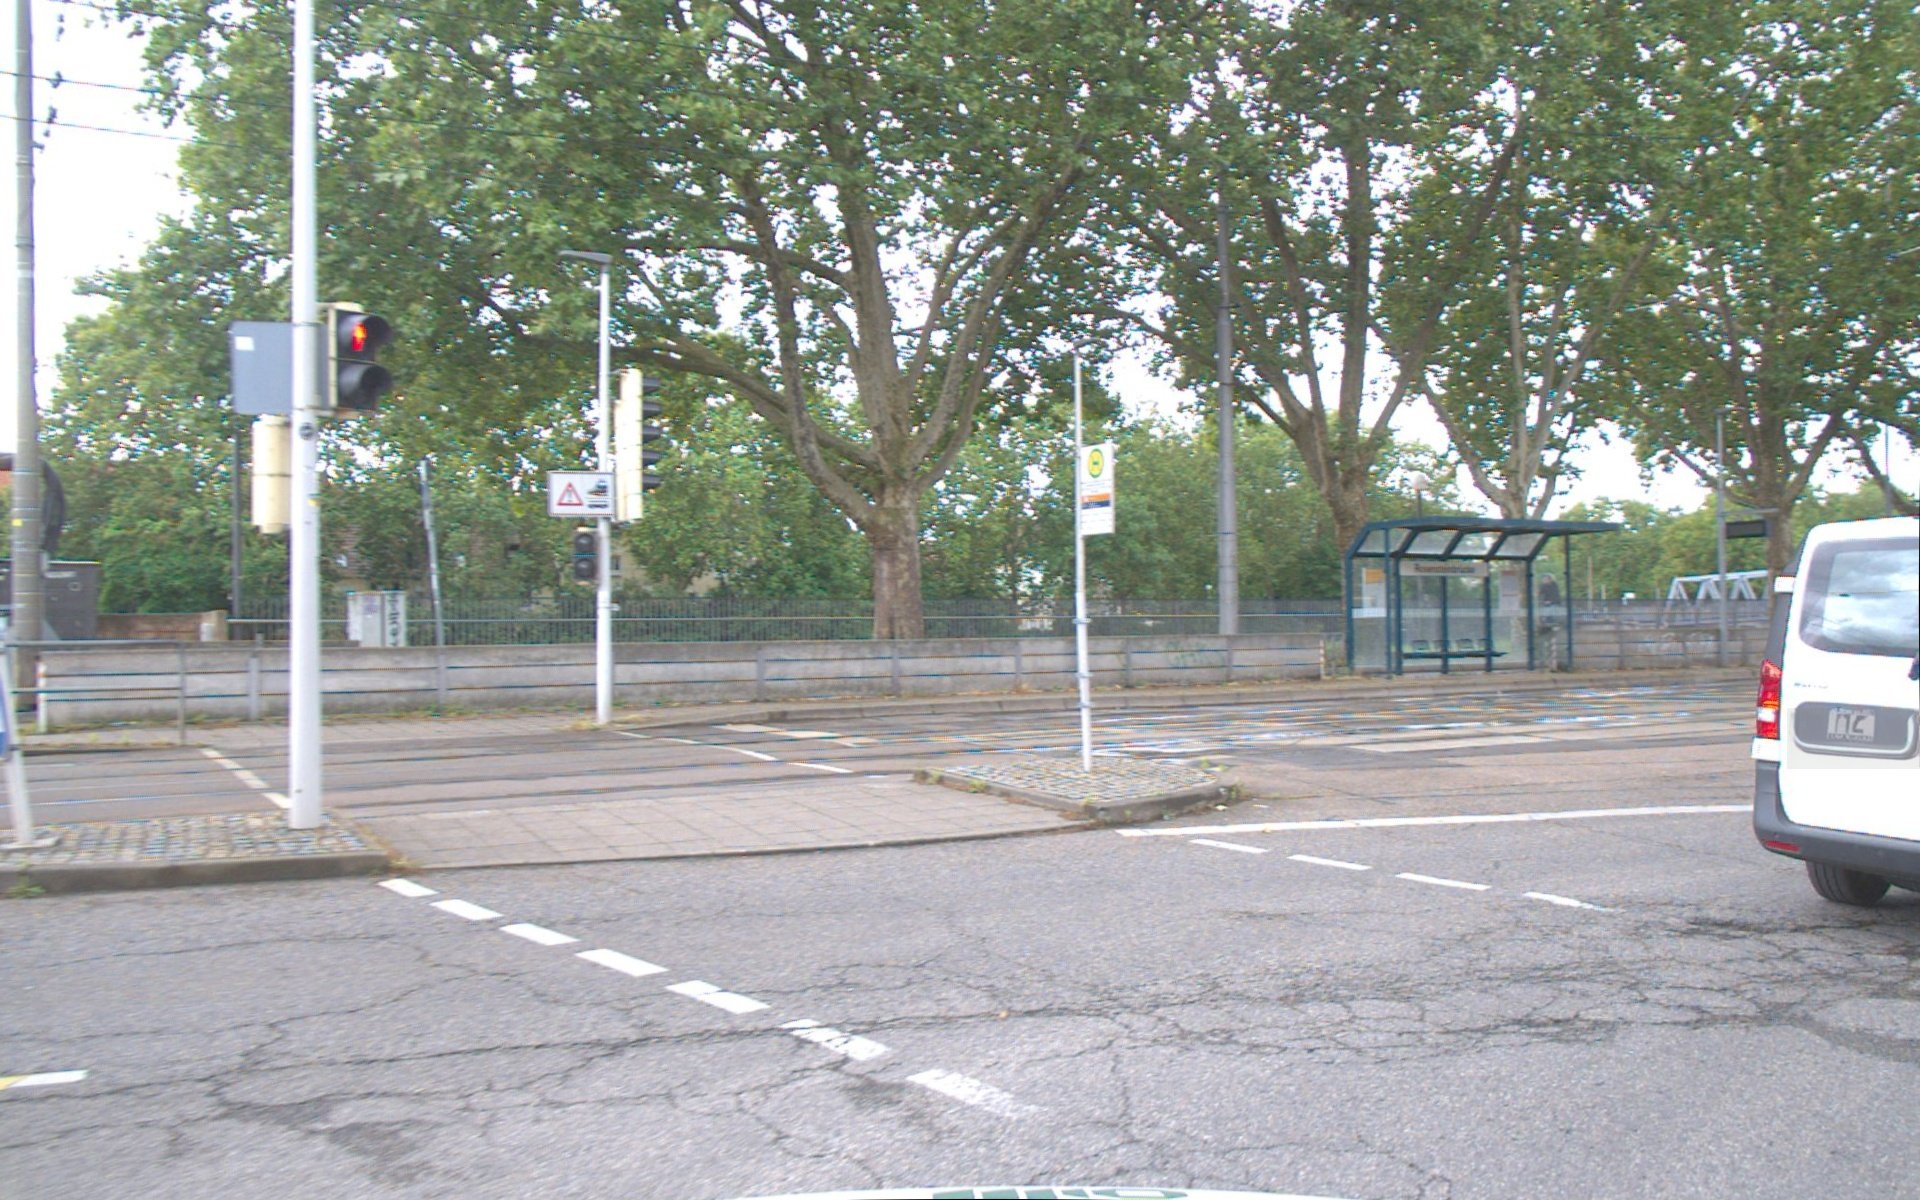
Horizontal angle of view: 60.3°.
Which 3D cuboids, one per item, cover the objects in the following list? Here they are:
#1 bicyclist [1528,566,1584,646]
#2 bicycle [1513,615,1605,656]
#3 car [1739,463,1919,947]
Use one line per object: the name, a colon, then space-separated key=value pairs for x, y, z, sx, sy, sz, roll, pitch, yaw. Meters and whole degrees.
bicyclist: x=15.532 y=0.175 z=43.114 sx=0.964 sy=2.049 sz=0.948 roll=2 pitch=-3 yaw=-31
bicycle: x=15.633 y=0.936 z=43.133 sx=2.464 sy=1.032 sz=0.924 roll=2 pitch=-3 yaw=-32
car: x=5.991 y=0.487 z=8.324 sx=4.651 sy=2.049 sz=1.930 roll=1 pitch=-1 yaw=-39
